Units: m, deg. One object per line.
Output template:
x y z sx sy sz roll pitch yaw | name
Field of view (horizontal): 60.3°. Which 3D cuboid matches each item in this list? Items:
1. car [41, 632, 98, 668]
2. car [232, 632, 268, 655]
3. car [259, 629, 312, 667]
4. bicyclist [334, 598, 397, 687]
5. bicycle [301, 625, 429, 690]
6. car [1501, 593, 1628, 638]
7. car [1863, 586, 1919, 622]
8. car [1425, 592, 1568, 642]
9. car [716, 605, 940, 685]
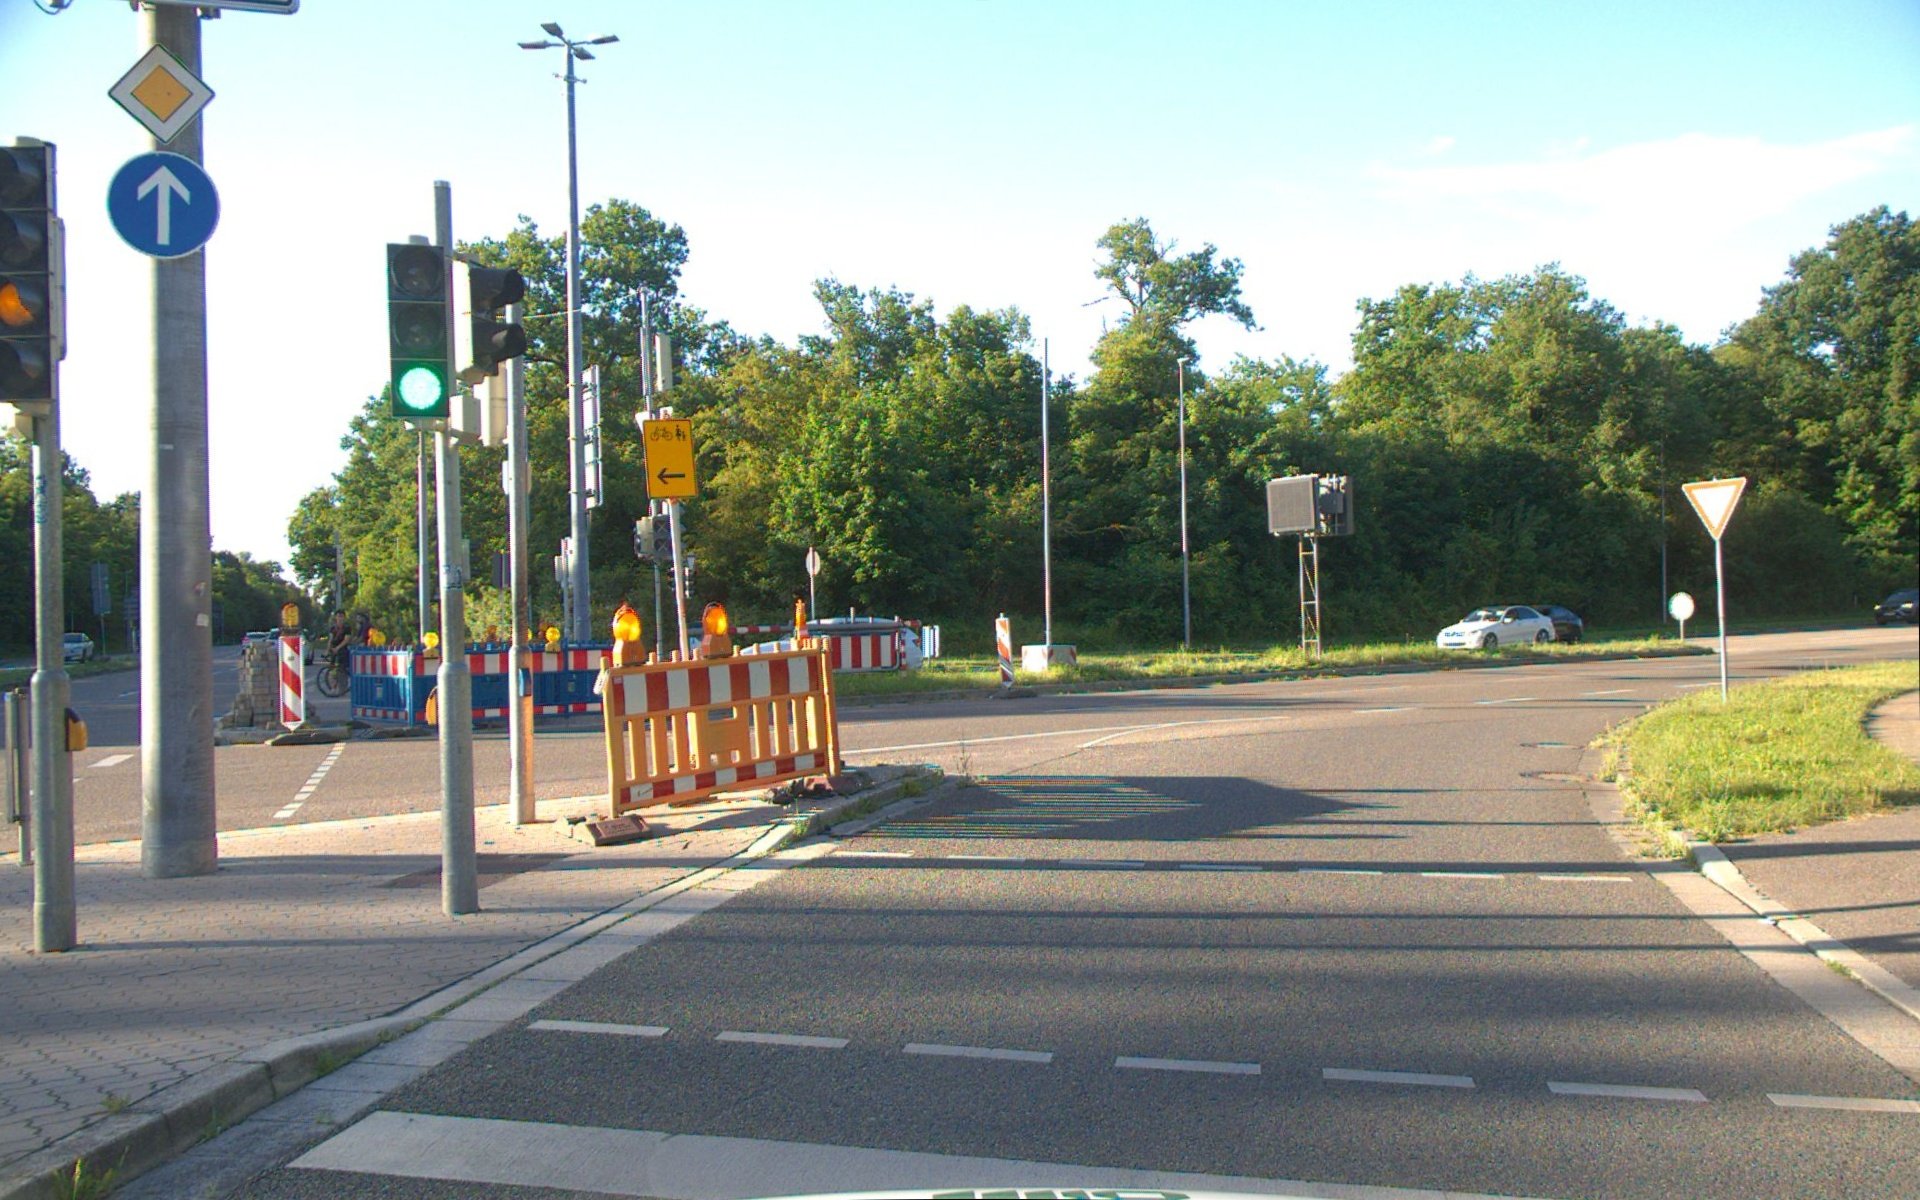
-47.495 2.648 88.302 1.964 1.820 4.225 -1 -1 -19 | car
-48.186 2.943 112.313 1.834 1.469 3.980 -1 -1 -18 | car
-27.379 1.931 67.202 1.913 1.439 3.973 -2 0 -22 | car
-13.402 0.947 37.281 0.950 1.963 1.011 -1 -1 40 | bicyclist
-13.386 1.268 37.281 0.950 1.407 2.626 -1 -1 40 | bicycle
21.623 0.556 59.067 4.755 1.461 1.974 -1 -1 -37 | car
43.257 0.137 75.218 4.597 1.556 1.976 -1 -1 -35 | car
17.172 0.523 52.892 4.755 1.461 1.974 -1 -1 -37 | car
-2.916 0.982 37.207 4.787 1.608 1.971 -1 -1 -40 | car
